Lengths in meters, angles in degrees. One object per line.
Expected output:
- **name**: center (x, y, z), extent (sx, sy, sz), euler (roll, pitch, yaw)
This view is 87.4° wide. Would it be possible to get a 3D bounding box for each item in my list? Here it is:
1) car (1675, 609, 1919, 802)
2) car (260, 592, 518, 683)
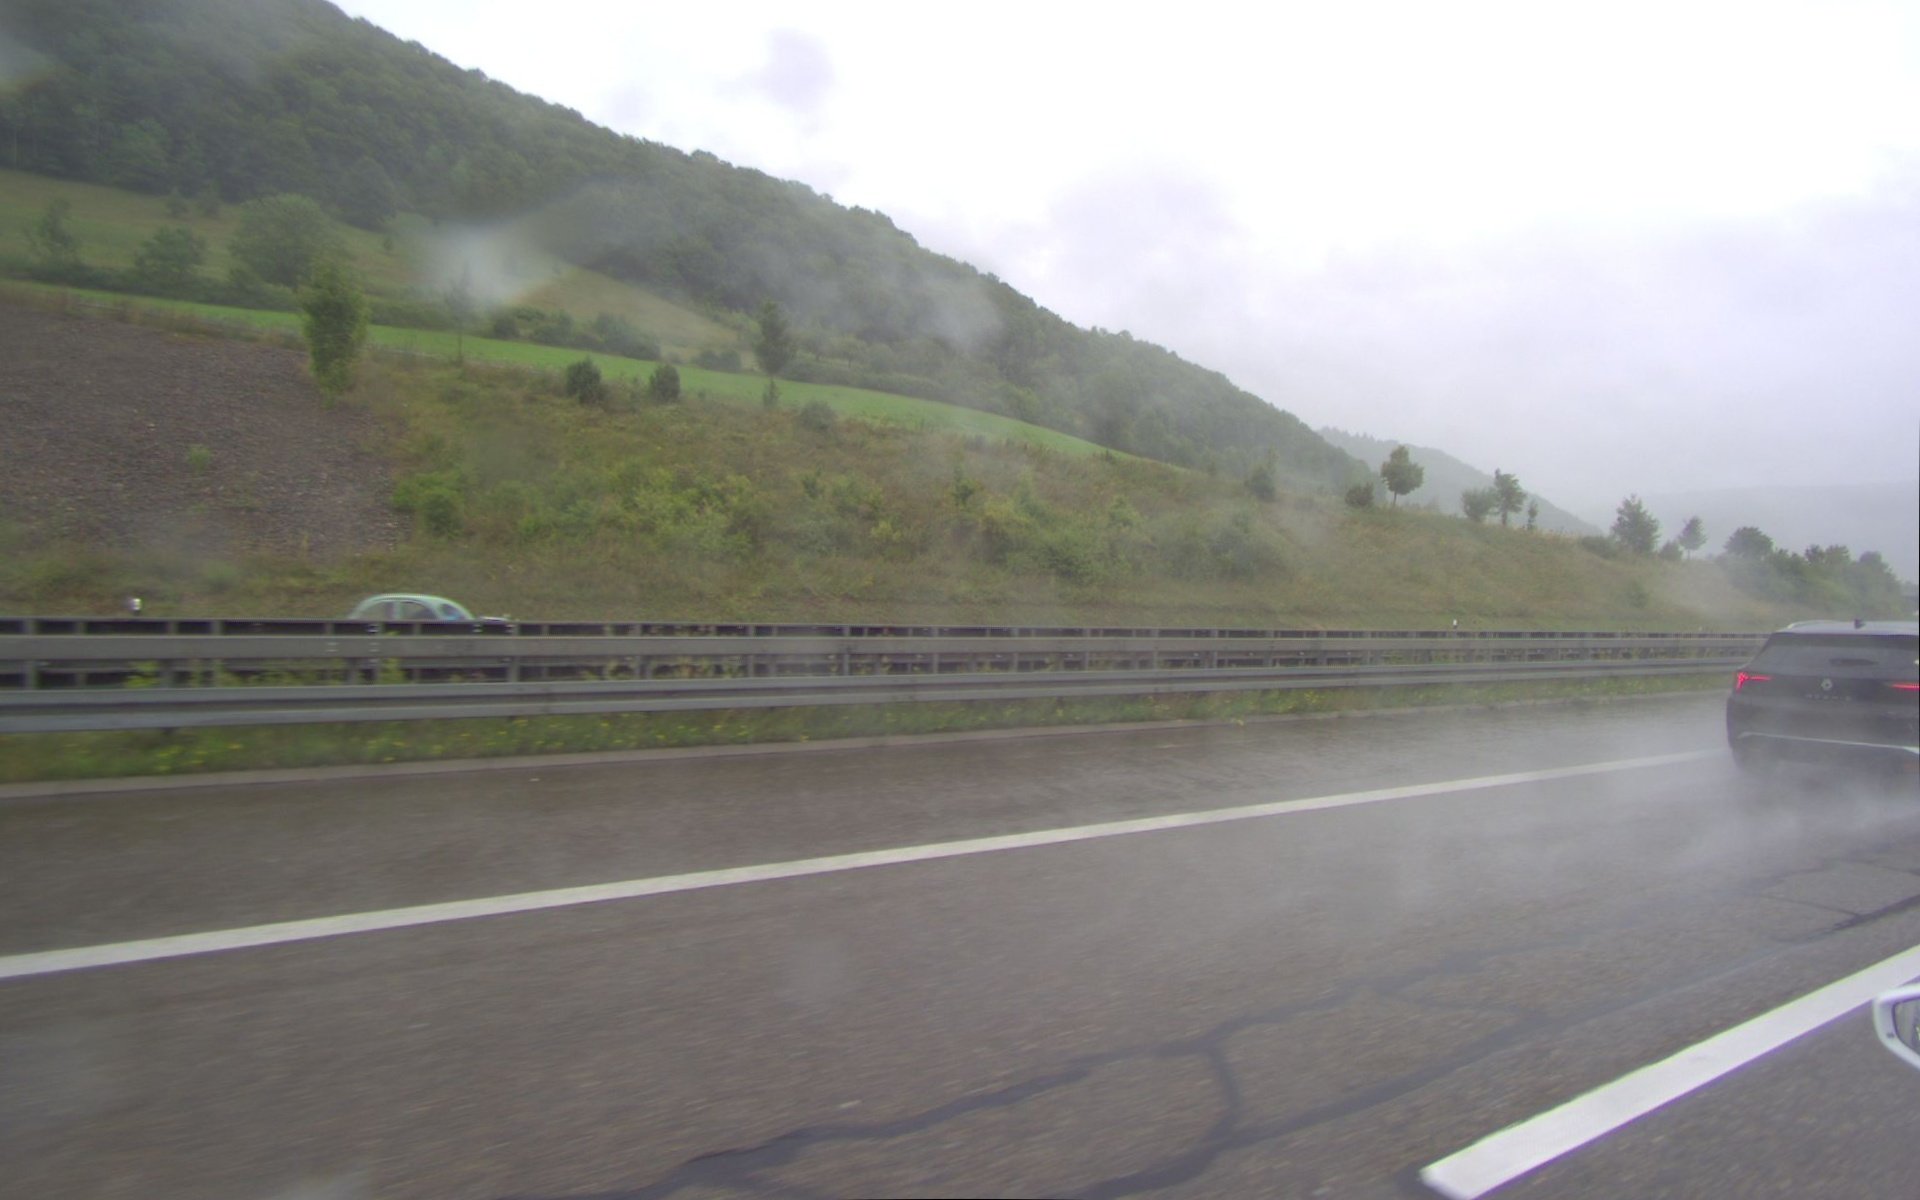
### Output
- **car**: center (9.588, 0.942, 10.129), extent (4.735, 1.536, 2.390), euler (2, 1, -35)
- **car**: center (-9.888, 0.629, 17.606), extent (3.731, 1.439, 1.785), euler (1, 0, -30)
